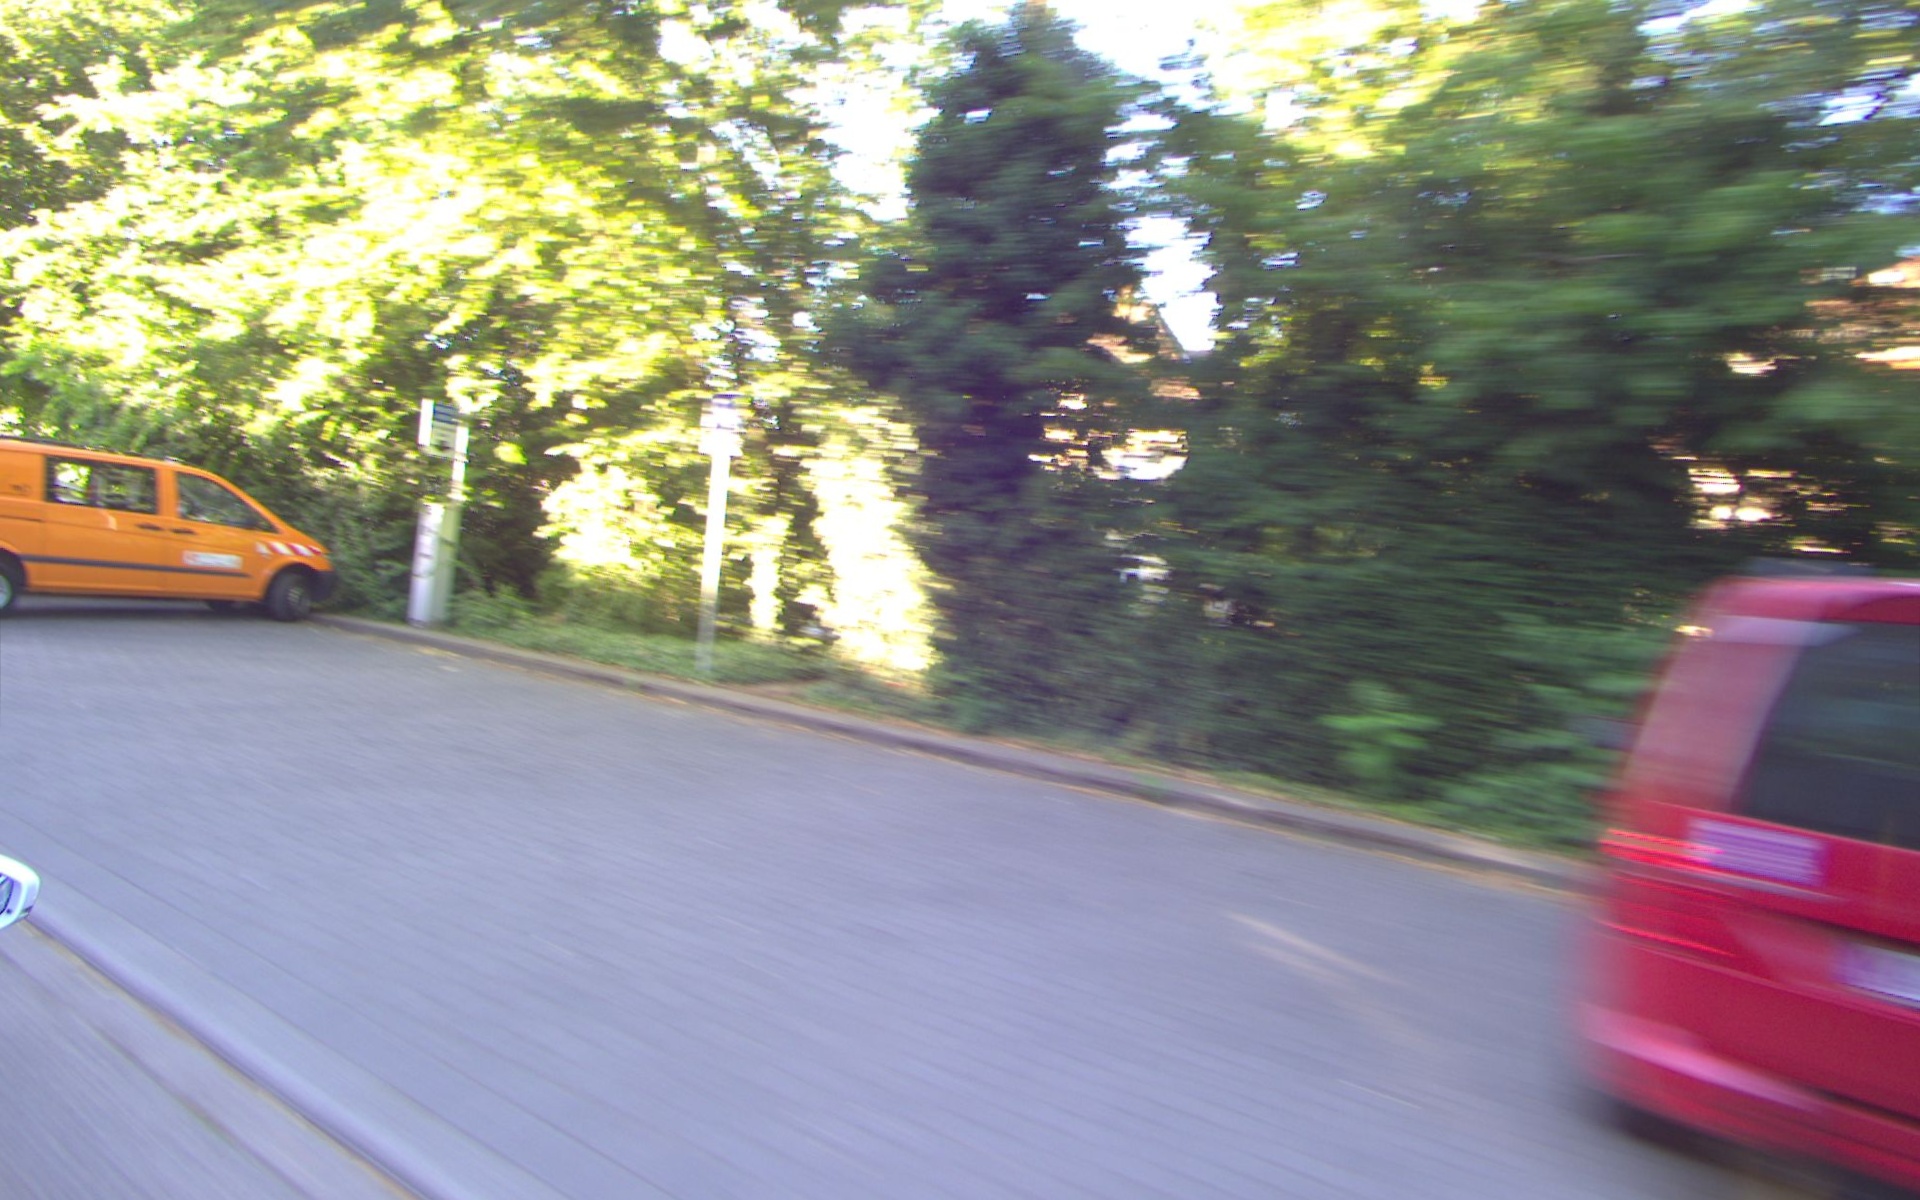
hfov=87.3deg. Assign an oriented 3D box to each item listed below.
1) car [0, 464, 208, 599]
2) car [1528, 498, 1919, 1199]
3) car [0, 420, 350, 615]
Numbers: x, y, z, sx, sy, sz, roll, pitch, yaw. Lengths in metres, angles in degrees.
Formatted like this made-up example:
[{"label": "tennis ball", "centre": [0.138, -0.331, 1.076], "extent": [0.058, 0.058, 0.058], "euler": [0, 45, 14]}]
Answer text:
[{"label": "car", "centre": [-12.728, -0.978, 13.837], "extent": [1.651, 1.653, 3.398], "euler": [7, 2, 30]}, {"label": "car", "centre": [3.527, 0.853, 3.778], "extent": [1.889, 1.887, 3.970], "euler": [7, 2, 35]}, {"label": "car", "centre": [-10.503, -0.963, 12.279], "extent": [2.044, 2.024, 4.801], "euler": [7, 2, 26]}]
